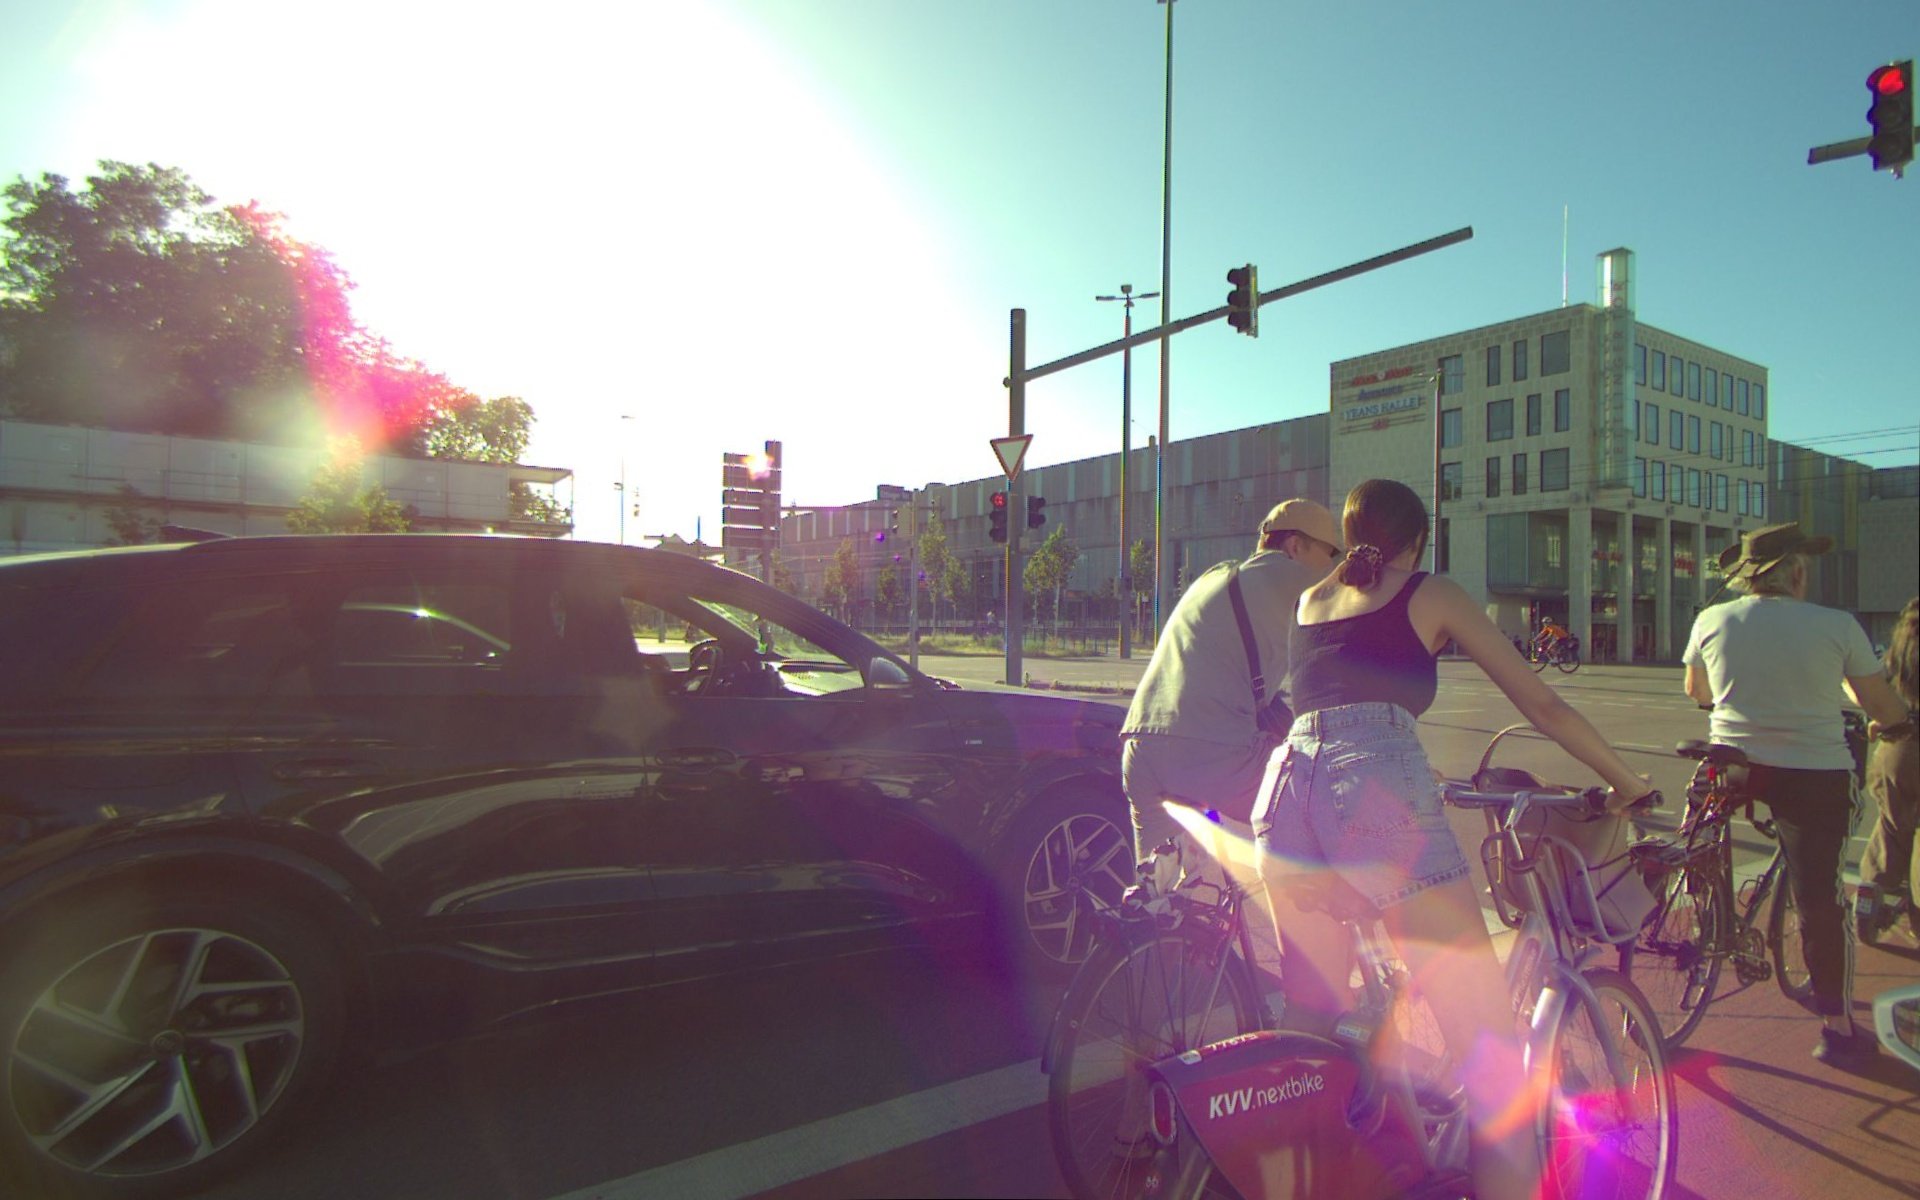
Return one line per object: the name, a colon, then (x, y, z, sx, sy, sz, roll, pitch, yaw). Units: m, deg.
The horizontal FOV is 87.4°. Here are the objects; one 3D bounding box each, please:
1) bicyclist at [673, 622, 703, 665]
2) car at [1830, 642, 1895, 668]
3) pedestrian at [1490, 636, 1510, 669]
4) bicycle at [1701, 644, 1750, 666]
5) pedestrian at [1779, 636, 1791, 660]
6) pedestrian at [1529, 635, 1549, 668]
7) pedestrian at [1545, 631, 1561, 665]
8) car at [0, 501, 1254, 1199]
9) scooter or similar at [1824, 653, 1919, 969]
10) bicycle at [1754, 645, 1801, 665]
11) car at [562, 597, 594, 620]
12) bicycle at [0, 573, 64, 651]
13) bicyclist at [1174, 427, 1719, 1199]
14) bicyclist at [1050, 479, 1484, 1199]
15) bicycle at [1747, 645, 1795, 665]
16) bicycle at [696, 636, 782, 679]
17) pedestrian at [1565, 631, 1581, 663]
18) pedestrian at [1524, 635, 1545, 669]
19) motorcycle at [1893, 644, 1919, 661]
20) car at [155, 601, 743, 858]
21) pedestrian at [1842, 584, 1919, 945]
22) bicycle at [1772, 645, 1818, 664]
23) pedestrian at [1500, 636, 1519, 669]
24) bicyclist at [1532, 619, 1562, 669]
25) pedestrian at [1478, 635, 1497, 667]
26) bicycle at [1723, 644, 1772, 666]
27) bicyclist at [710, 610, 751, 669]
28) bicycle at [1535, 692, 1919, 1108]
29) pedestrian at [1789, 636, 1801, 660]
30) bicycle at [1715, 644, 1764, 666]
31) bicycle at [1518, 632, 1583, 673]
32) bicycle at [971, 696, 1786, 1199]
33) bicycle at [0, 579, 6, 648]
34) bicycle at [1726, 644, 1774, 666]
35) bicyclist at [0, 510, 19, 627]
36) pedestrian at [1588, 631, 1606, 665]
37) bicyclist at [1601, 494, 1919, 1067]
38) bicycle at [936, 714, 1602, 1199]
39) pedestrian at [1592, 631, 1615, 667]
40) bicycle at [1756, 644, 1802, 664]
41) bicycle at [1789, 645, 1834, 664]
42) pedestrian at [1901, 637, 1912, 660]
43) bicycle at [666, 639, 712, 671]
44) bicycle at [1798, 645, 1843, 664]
bicyclist: (-13.108, 2.082, 48.364, 0.985, 2.040, 1.088, 2, 0, -40)
car: (49.783, 3.061, 55.410, 3.956, 1.359, 1.621, 2, -4, -32)
pedestrian: (32.162, 3.129, 59.869, 0.710, 1.910, 0.779, 2, 0, -36)
bicycle: (45.762, 3.287, 60.084, 0.605, 1.238, 2.295, 1, -1, -31)
pedestrian: (60.623, 3.501, 73.820, 0.610, 1.702, 0.565, 1, 0, -39)
pedestrian: (34.407, 3.044, 59.690, 0.710, 1.910, 0.779, 2, 0, -36)
pedestrian: (34.190, 2.767, 57.928, 0.705, 1.910, 0.785, 2, 0, 33)
car: (-1.156, 0.633, 3.873, 4.630, 1.656, 1.760, 1, 0, -32)
scooter or similar: (4.490, 0.926, 4.717, 1.186, 1.311, 0.541, 2, 0, -45)
bicycle: (52.902, 3.529, 65.019, 0.605, 1.238, 2.295, 1, -1, -31)
car: (-32.936, 0.730, 86.516, 1.785, 1.908, 3.964, 2, 0, -33)
bicycle: (-23.299, 0.268, 23.740, 3.047, 1.835, 0.835, 0, 1, -32)
bicyclist: (0.999, 0.533, 2.087, 0.866, 1.600, 0.638, 1, 0, -33)
bicyclist: (0.801, 0.560, 2.676, 0.833, 1.627, 0.712, 1, 0, -32)
bicycle: (51.277, 3.472, 63.551, 0.605, 1.238, 2.295, 1, -1, -31)
bicycle: (-7.945, 2.045, 36.123, 2.905, 1.388, 0.970, 2, 0, 16)
pedestrian: (35.630, 2.729, 58.425, 0.784, 1.868, 0.862, 0, -1, 32)
pedestrian: (33.397, 3.006, 58.378, 0.710, 1.910, 0.779, 2, 0, -36)
motorcycle: (70.739, 3.903, 74.855, 0.508, 1.223, 1.786, 1, 0, -44)
car: (-3.587, 0.791, 7.499, 3.562, 1.505, 1.485, 1, 0, -30)
pedestrian: (4.631, 0.762, 4.809, 0.568, 1.654, 0.543, 2, 0, -45)
bicycle: (55.519, 3.617, 66.830, 0.605, 1.238, 2.295, 1, -1, -31)
pedestrian: (33.224, 3.165, 60.691, 0.780, 1.910, 0.709, 2, 0, -37)
bicyclist: (17.819, 1.325, 30.493, 0.700, 1.456, 0.497, 2, 0, 23)
pedestrian: (32.317, 3.109, 61.531, 0.710, 1.910, 0.779, 2, 0, -36)
bicycle: (48.047, 3.363, 61.339, 0.605, 1.238, 2.295, 1, -1, -31)
bicyclist: (-8.262, 1.400, 36.205, 1.078, 2.040, 0.961, 2, 0, 15)
bicycle: (2.877, 0.962, 3.682, 1.810, 1.171, 0.482, 2, 0, -31)
pedestrian: (61.055, 3.500, 73.483, 0.602, 1.702, 0.549, 1, 1, -40)
bicycle: (46.964, 3.326, 60.528, 0.605, 1.238, 2.295, 1, -1, -31)
bicycle: (17.902, 1.577, 30.478, 1.618, 1.170, 0.497, 2, 0, 23)
bicycle: (0.945, 0.872, 2.055, 1.811, 1.234, 0.612, 1, 0, -33)
bicycle: (-26.828, 0.309, 25.688, 3.320, 1.835, 1.071, 2, 0, -32)
bicycle: (48.697, 3.386, 61.960, 0.605, 1.238, 2.295, 1, -1, -31)
bicyclist: (-23.271, -0.767, 23.738, 1.292, 2.765, 0.835, 2, 0, -32)
pedestrian: (35.872, 2.693, 56.584, 0.784, 1.868, 0.863, 0, -1, 28)
bicyclist: (2.867, 0.557, 3.556, 0.856, 1.743, 0.657, 2, 0, -30)
bicycle: (0.938, 0.954, 2.773, 1.949, 1.124, 0.643, 1, 0, -33)
pedestrian: (37.031, 2.797, 57.829, 0.767, 2.040, 0.876, 2, 0, -41)
bicycle: (54.281, 3.578, 66.567, 0.605, 1.238, 2.295, 1, -1, -31)
bicycle: (58.852, 3.731, 69.429, 0.605, 1.238, 2.295, 1, -1, -31)
pedestrian: (71.098, 3.667, 75.455, 0.579, 1.702, 0.516, 1, 1, -43)
bicycle: (-13.028, 2.611, 48.244, 0.962, 1.388, 2.930, 2, 0, -40)
bicycle: (59.824, 3.763, 69.853, 0.605, 1.238, 2.295, 1, -1, -31)
